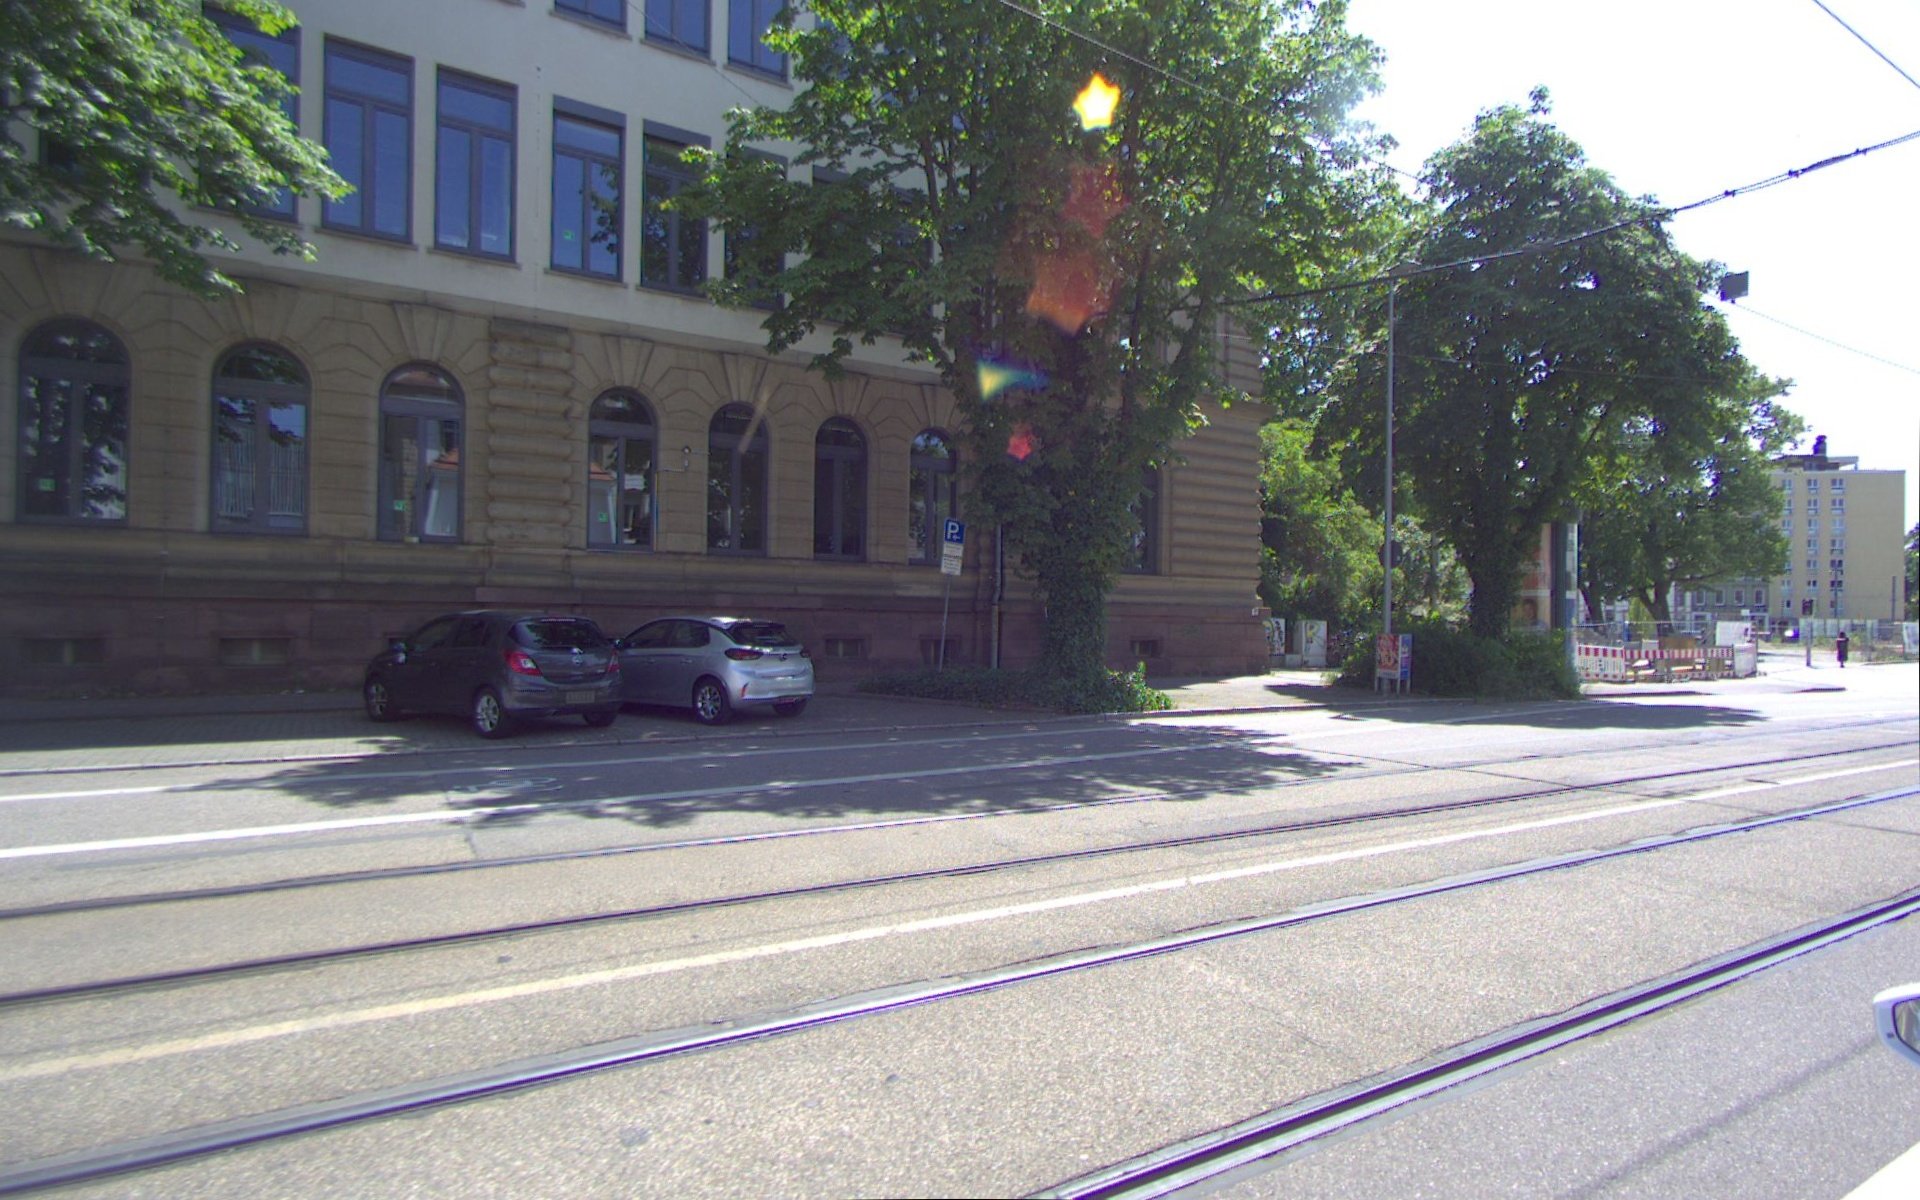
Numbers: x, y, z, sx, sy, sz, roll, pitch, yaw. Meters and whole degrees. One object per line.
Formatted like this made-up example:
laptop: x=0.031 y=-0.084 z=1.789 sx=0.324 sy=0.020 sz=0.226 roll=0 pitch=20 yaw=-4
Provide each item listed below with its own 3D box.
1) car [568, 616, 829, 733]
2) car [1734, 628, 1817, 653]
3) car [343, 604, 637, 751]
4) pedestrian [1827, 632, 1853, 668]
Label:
car: x=-3.799 y=0.986 z=14.483 sx=3.487 sy=1.424 sz=1.698 roll=1 pitch=-1 yaw=32
car: x=55.948 y=2.763 z=69.002 sx=1.822 sy=1.671 sz=4.180 roll=1 pitch=-1 yaw=-18
car: x=-6.042 y=0.884 z=12.833 sx=3.612 sy=1.540 sz=1.666 roll=2 pitch=0 yaw=32
pedestrian: x=40.684 y=2.291 z=46.428 sx=0.813 sy=1.623 sz=0.605 roll=1 pitch=-1 yaw=-21
